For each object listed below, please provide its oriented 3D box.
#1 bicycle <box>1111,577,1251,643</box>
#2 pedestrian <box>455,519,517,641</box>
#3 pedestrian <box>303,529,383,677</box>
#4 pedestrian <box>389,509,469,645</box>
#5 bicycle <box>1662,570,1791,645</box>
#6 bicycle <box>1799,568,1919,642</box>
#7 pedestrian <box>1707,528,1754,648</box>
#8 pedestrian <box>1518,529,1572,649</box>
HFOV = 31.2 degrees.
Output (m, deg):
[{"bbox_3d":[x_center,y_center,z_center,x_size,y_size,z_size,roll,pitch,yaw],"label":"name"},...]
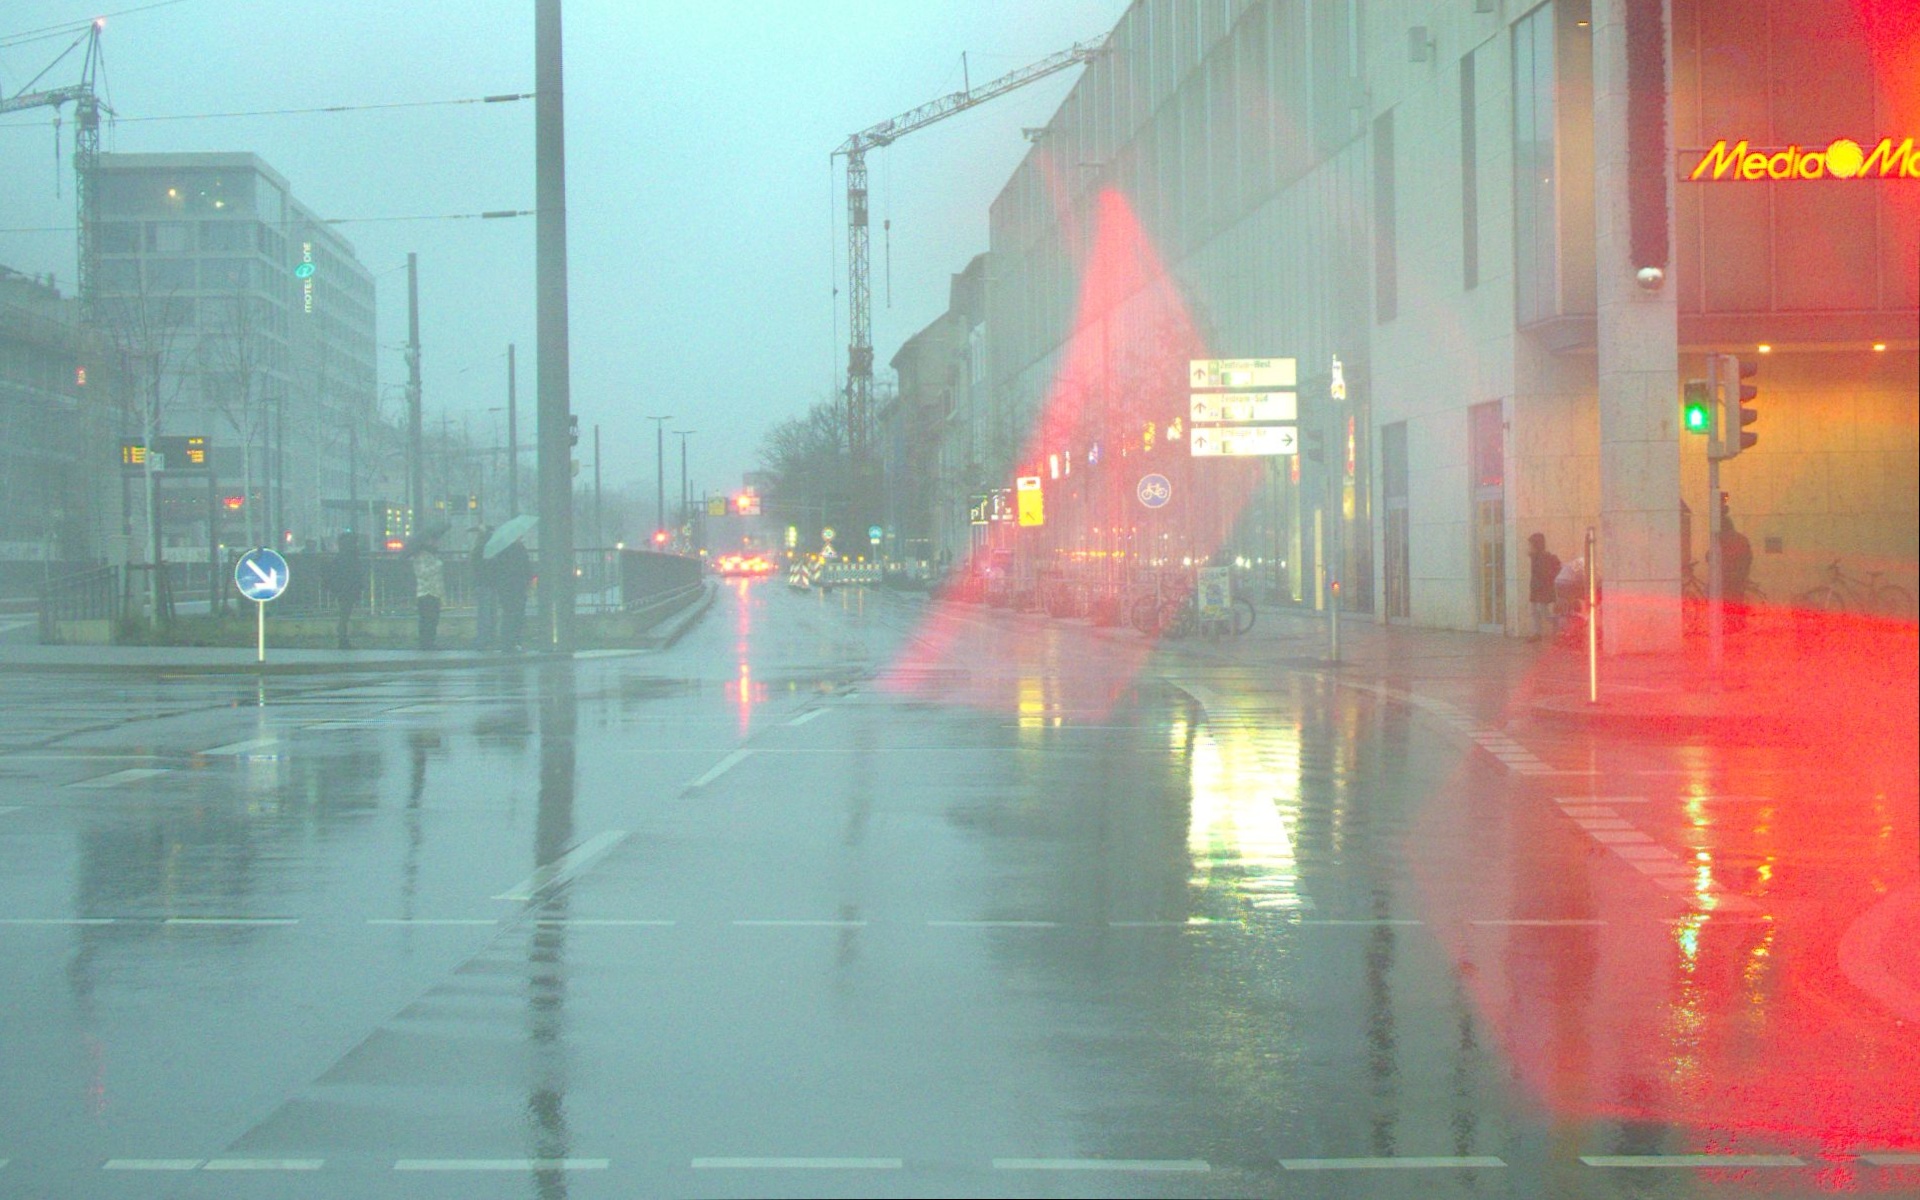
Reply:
[{"bbox_3d":[3.956,0.175,61.604,2.442,1.150,0.674,-1,0,-1],"label":"bicycle"},{"bbox_3d":[-6.623,-0.280,48.037,0.612,1.680,0.577,1,1,42],"label":"pedestrian"},{"bbox_3d":[-8.501,0.033,47.350,0.785,2.007,0.726,1,1,42],"label":"pedestrian"},{"bbox_3d":[-7.197,-0.309,46.597,0.821,1.825,0.786,1,0,-31],"label":"pedestrian"},{"bbox_3d":[11.303,0.109,50.692,1.767,1.066,0.525,1,0,-8],"label":"bicycle"},{"bbox_3d":[13.299,0.067,50.822,1.646,1.066,0.525,1,0,-4],"label":"bicycle"},{"bbox_3d":[11.232,-0.180,50.117,0.600,1.739,0.524,1,0,8],"label":"pedestrian"},{"bbox_3d":[8.404,-0.158,49.409,0.636,1.703,0.573,-1,0,-1],"label":"pedestrian"}]
